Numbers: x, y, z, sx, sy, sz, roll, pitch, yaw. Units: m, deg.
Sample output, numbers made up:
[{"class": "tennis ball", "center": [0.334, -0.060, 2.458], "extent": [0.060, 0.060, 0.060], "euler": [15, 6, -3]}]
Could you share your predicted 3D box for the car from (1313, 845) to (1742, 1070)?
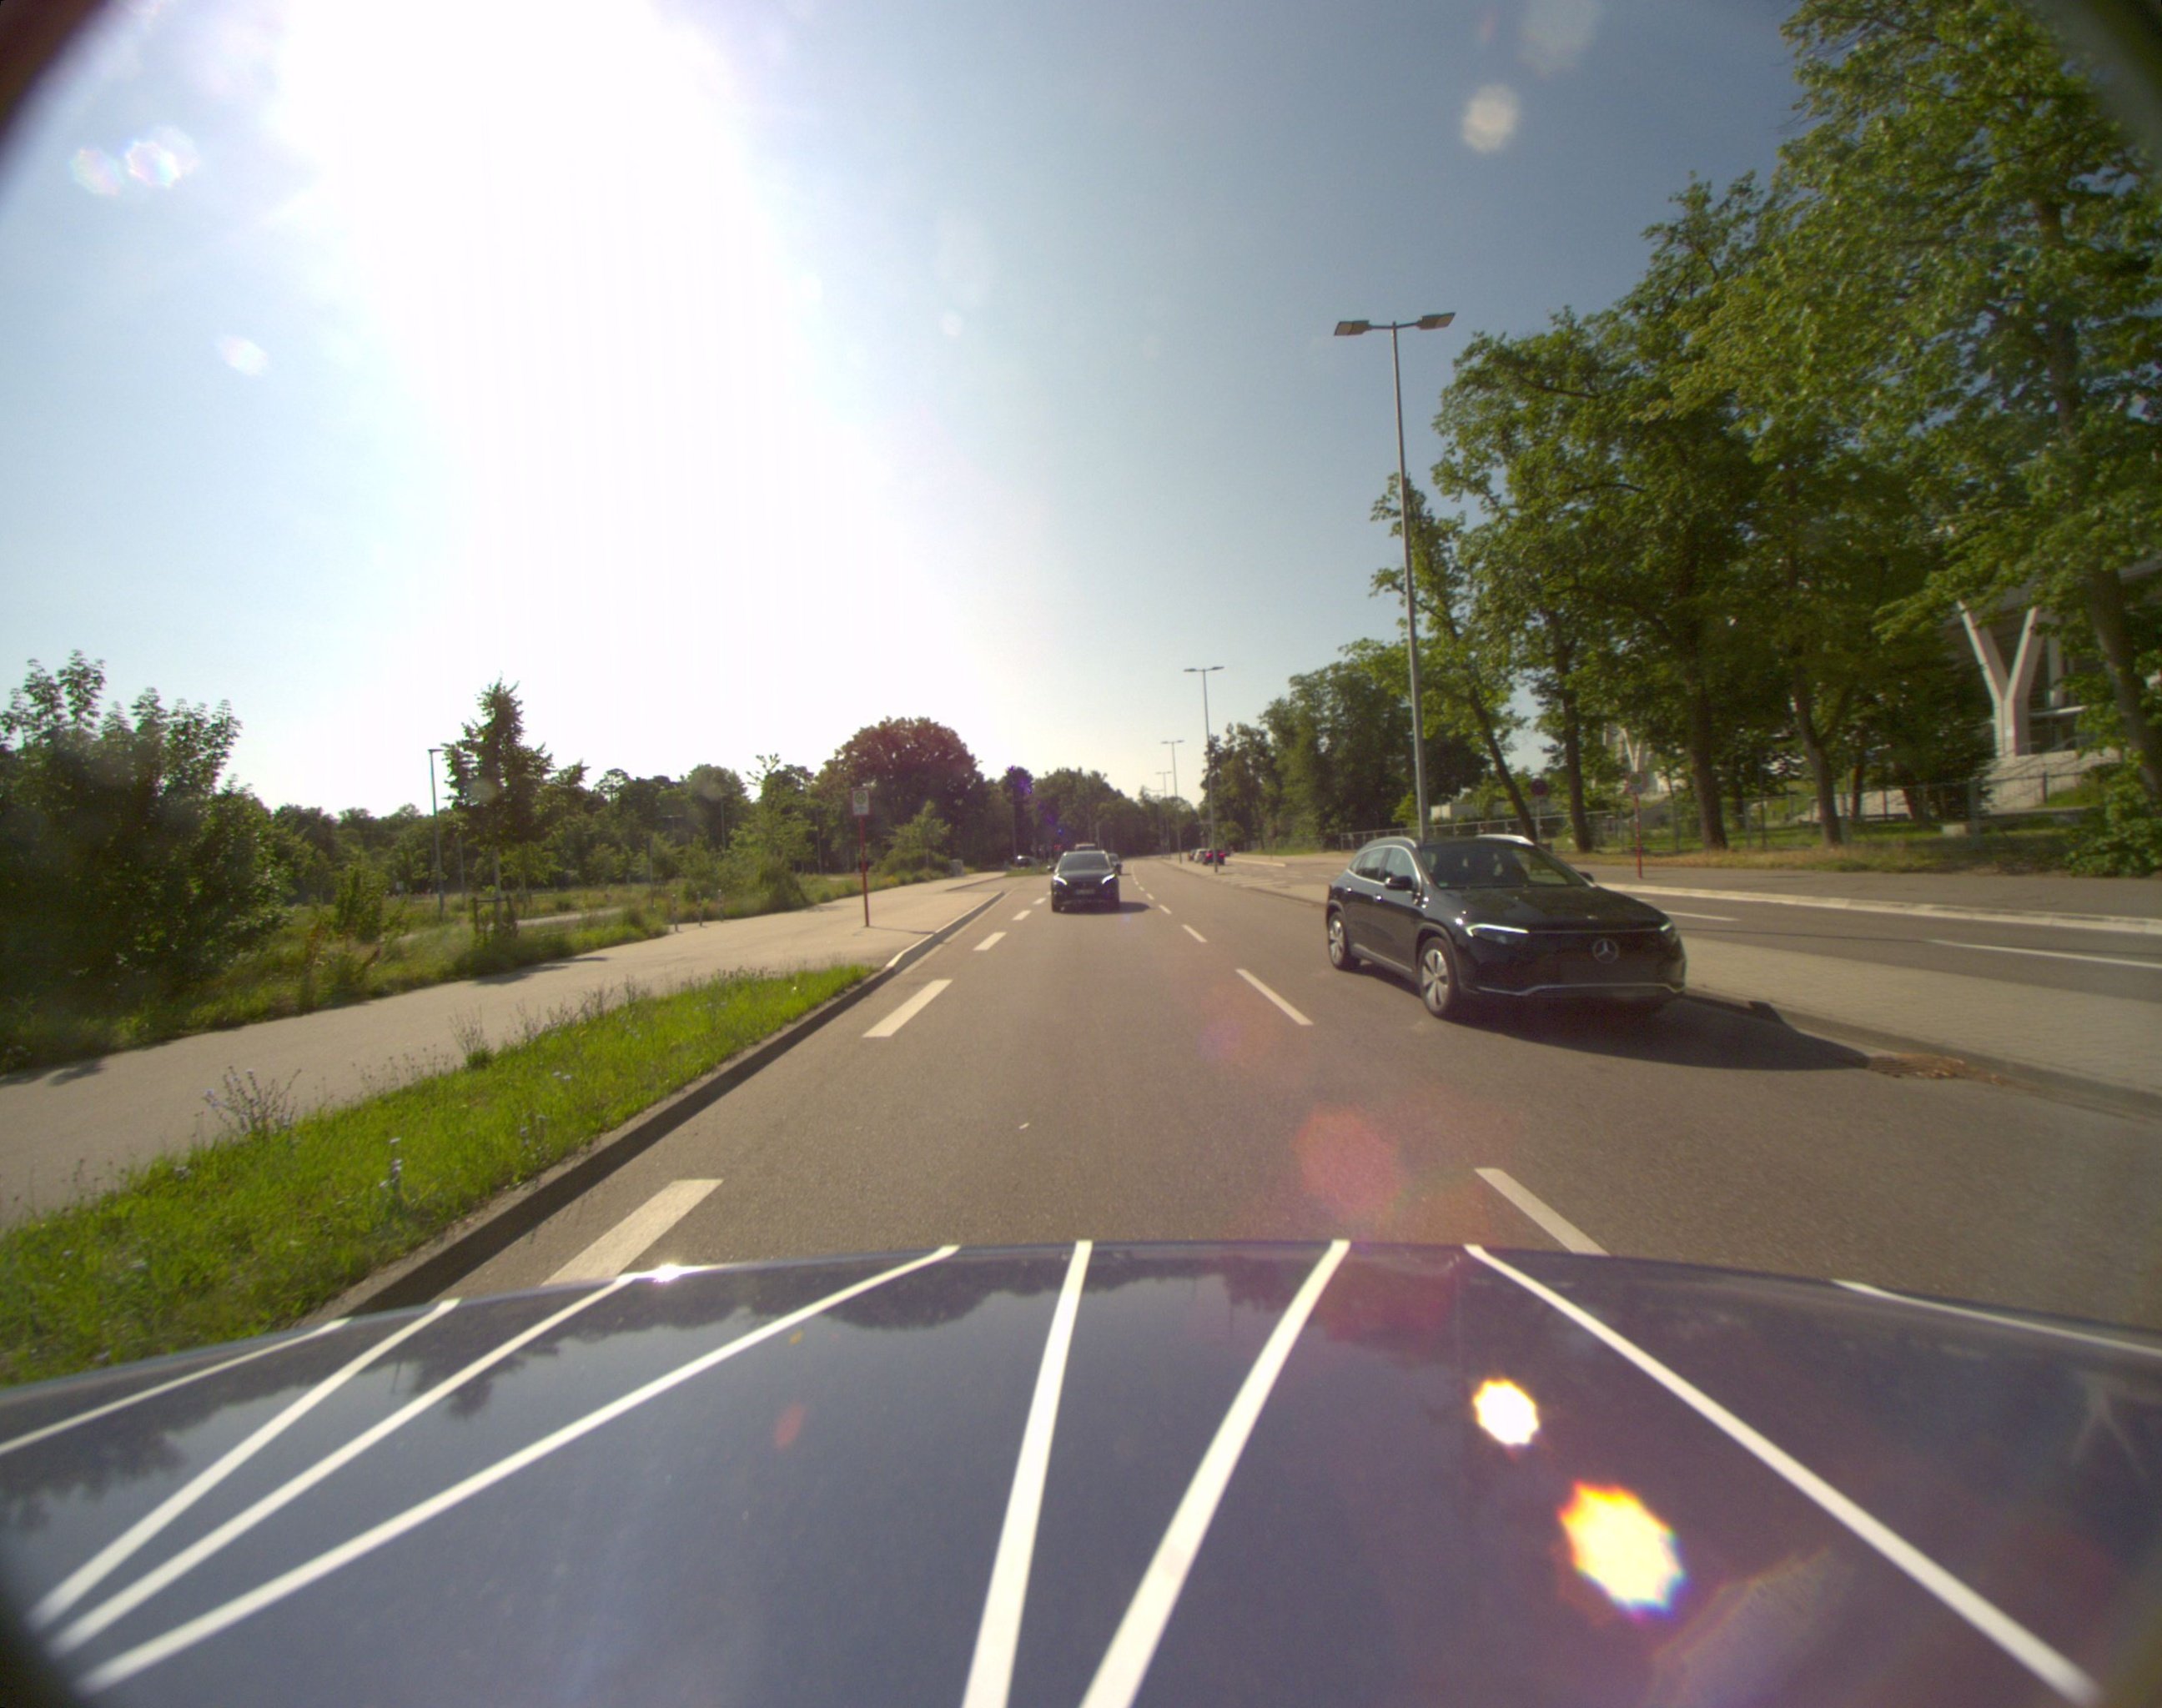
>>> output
[{"class": "car", "center": [3.869, 0.731, 7.598], "extent": [1.809, 1.587, 4.273], "euler": [-1, 0, 1]}]

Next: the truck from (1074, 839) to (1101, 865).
[{"class": "truck", "center": [0.686, -0.241, 86.797], "extent": [2.678, 2.702, 6.202], "euler": [-4, 0, -1]}]

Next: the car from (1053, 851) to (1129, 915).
[{"class": "car", "center": [0.395, 0.744, 21.836], "extent": [1.702, 1.581, 4.321], "euler": [-3, 0, 6]}]

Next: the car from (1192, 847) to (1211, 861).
[{"class": "car", "center": [13.341, -0.036, 84.411], "extent": [1.626, 1.458, 3.801], "euler": [-1, 0, 3]}]

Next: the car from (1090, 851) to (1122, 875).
[{"class": "car", "center": [1.790, 0.608, 52.818], "extent": [1.932, 1.499, 4.001], "euler": [-3, 0, 4]}]

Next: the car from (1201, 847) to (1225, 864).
[{"class": "car", "center": [12.223, 0.089, 70.693], "extent": [1.757, 1.477, 3.948], "euler": [-1, 0, 3]}]

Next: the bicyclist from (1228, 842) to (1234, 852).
[{"class": "bicyclist", "center": [24.063, -1.146, 122.058], "extent": [0.661, 1.459, 1.057], "euler": [-5, 0, 3]}]

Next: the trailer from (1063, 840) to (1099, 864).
[{"class": "trailer", "center": [-0.085, -0.245, 92.902], "extent": [2.704, 2.672, 6.881], "euler": [-4, 0, -13]}]

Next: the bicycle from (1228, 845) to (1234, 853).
[{"class": "bicycle", "center": [24.115, -0.809, 122.208], "extent": [0.661, 1.129, 1.879], "euler": [-5, 0, 3]}]

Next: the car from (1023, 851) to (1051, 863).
[{"class": "car", "center": [-6.391, 0.426, 109.215], "extent": [1.850, 1.475, 3.989], "euler": [-3, 0, -43]}]

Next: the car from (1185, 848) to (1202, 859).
[{"class": "car", "center": [14.480, -0.057, 98.276], "extent": [1.815, 1.380, 4.162], "euler": [-1, 0, 3]}]
